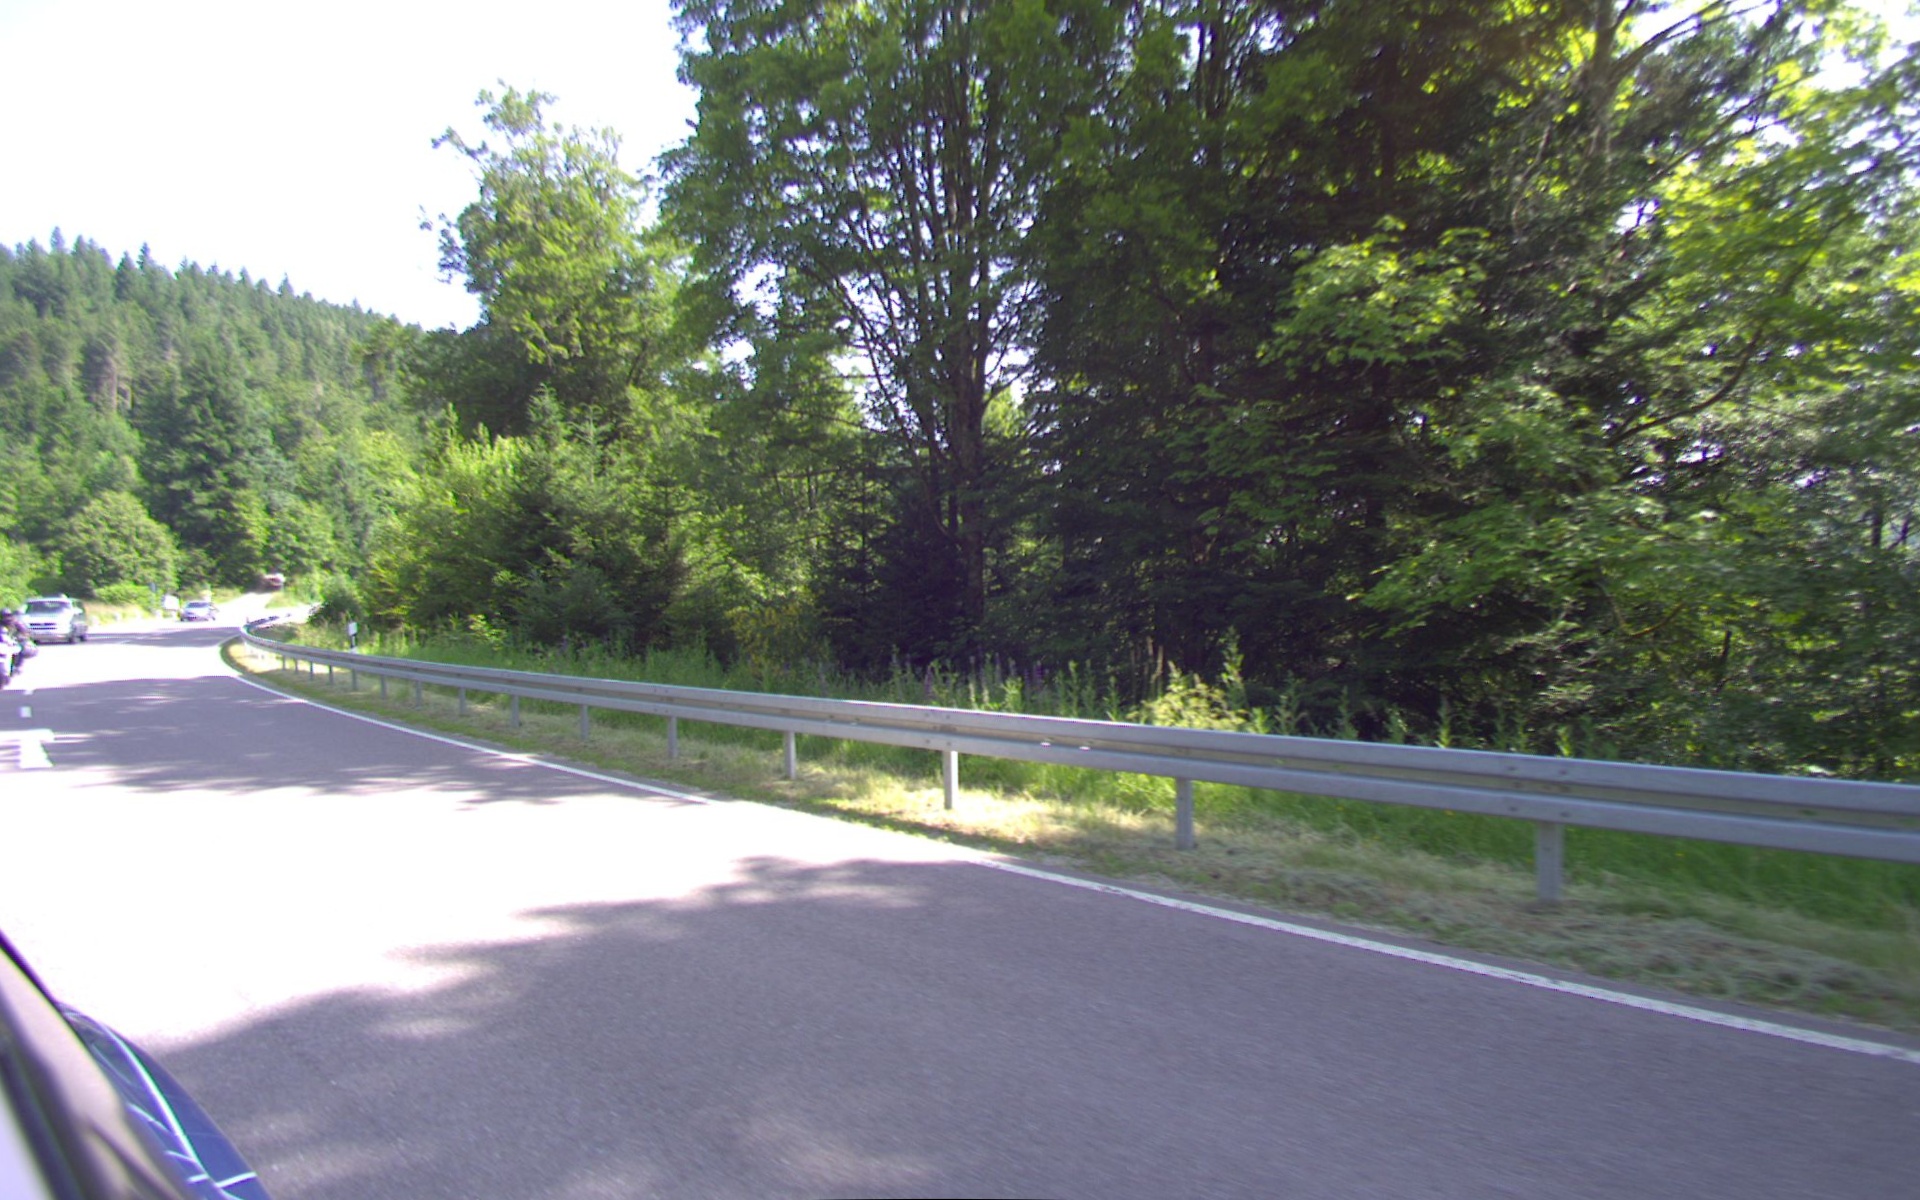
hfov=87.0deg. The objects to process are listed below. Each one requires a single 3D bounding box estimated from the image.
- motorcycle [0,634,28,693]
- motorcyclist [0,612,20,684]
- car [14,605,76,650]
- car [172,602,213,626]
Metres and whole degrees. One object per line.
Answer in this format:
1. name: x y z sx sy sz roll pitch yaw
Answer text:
1. motorcycle: -19.909 1.294 20.784 1.093 1.132 1.963 0 -1 -42
2. motorcyclist: -19.797 0.984 20.727 0.706 1.441 1.000 -2 1 -41
3. car: -37.772 1.088 41.851 1.627 1.773 3.802 1 -1 -38
4. car: -55.965 1.018 73.856 1.966 1.655 4.012 -1 1 -31
